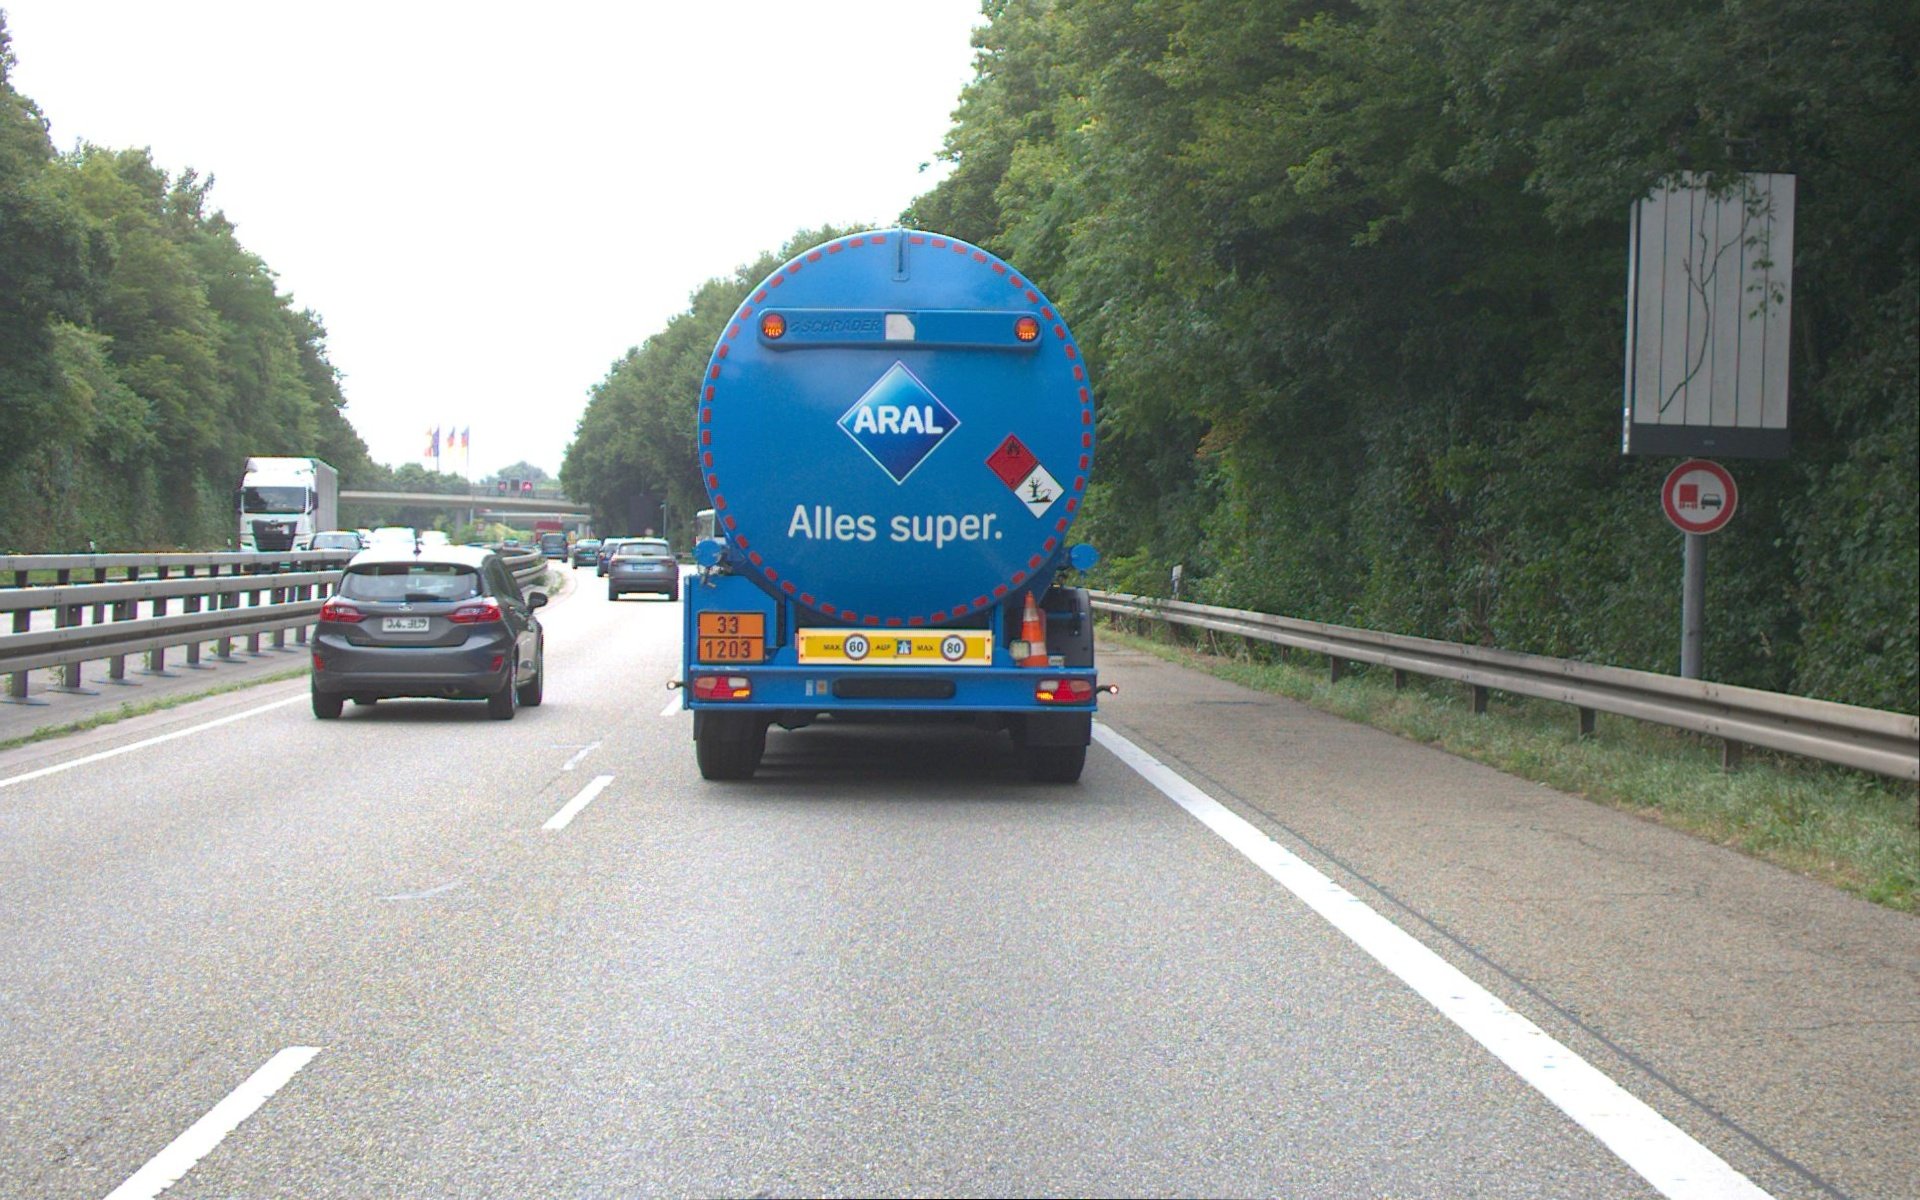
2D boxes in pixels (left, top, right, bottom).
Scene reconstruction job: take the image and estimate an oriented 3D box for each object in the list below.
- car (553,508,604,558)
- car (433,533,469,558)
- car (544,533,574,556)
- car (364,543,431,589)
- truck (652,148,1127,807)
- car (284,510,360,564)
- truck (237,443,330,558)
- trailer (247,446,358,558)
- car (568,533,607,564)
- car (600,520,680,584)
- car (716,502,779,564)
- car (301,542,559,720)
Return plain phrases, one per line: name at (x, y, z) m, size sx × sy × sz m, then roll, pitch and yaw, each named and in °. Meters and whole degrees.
car at (-15.786, -2.757, 142.115) m, size 1.993 × 2.007 × 4.001 m, roll 0°, pitch 1°, yaw -8°
car at (-28.392, -3.031, 191.853) m, size 1.643 × 1.384 × 4.291 m, roll 0°, pitch 1°, yaw -4°
car at (-27.727, -3.842, 237.634) m, size 1.993 × 1.546 × 4.001 m, roll 0°, pitch 1°, yaw -6°
car at (-19.179, -1.167, 117.325) m, size 1.792 × 1.544 × 4.129 m, roll 0°, pitch 1°, yaw -3°
truck at (-0.489, -0.788, 23.915) m, size 2.755 × 3.833 × 7.689 m, roll 0°, pitch 1°, yaw -1°
car at (-17.566, -1.730, 94.752) m, size 1.708 × 1.441 × 3.777 m, roll 0°, pitch 1°, yaw -5°
truck at (-24.369, -3.553, 123.963) m, size 2.692 × 4.049 × 5.323 m, roll 0°, pitch 1°, yaw -5°
trailer at (-24.847, -3.638, 130.516) m, size 2.663 × 4.032 × 12.875 m, roll 0°, pitch 1°, yaw -4°
car at (-19.373, -2.682, 178.911) m, size 1.955 × 1.562 × 4.001 m, roll 0°, pitch 1°, yaw -5°
car at (-8.233, -1.247, 88.788) m, size 1.826 × 1.604 × 4.168 m, roll 0°, pitch 1°, yaw -2°
car at (-7.851, -2.463, 126.643) m, size 1.993 × 2.237 × 4.001 m, roll 0°, pitch 1°, yaw -8°
car at (-4.615, 0.220, 30.513) m, size 1.826 × 1.453 × 4.640 m, roll 0°, pitch 1°, yaw -3°
